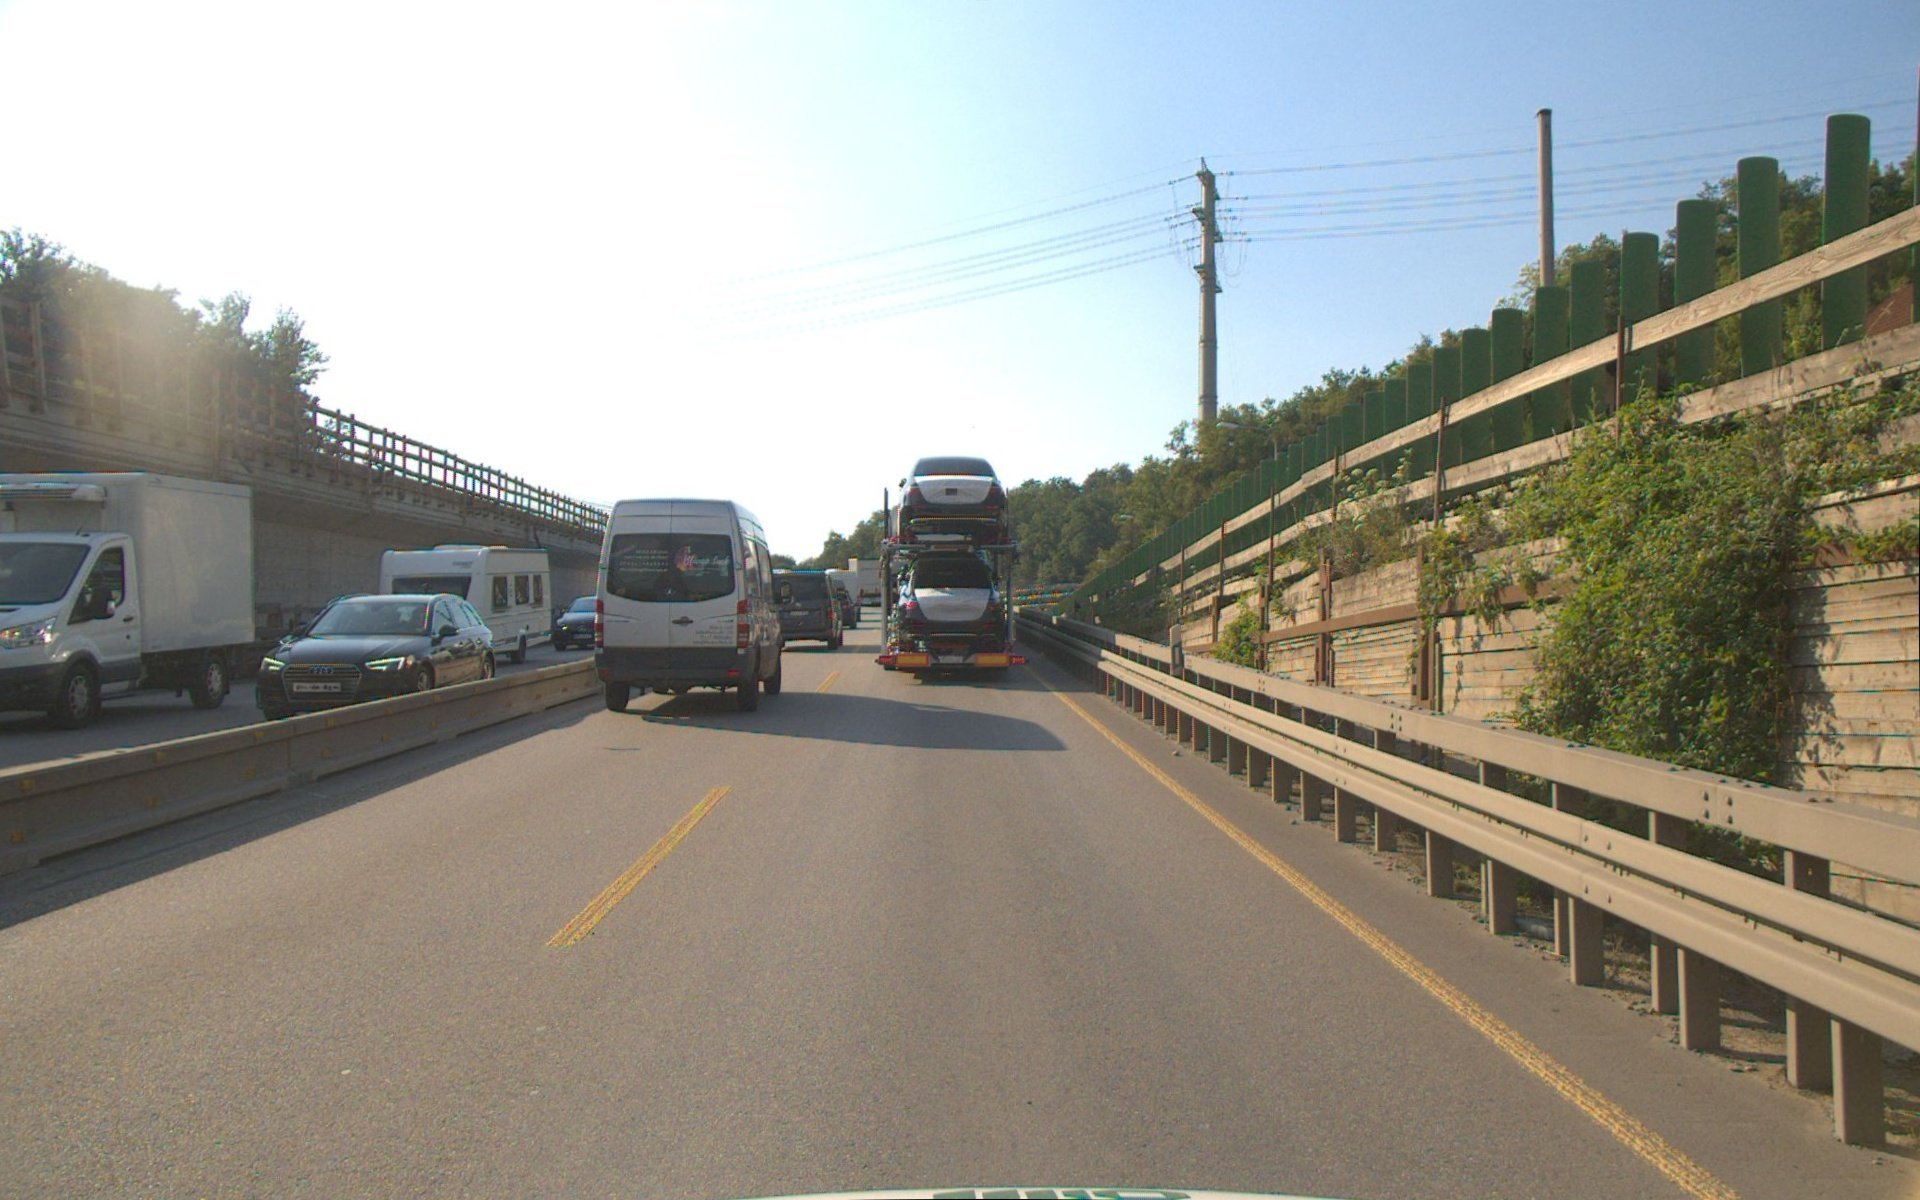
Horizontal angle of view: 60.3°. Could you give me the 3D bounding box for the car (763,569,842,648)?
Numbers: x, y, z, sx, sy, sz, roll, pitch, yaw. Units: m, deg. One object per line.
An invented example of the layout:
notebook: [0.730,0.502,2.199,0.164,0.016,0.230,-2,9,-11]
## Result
car: [-4.090,0.260,43.421,1.772,1.937,3.998,2,-1,-2]

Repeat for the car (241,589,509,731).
car: [-6.902,0.634,20.034,1.728,1.475,4.457,2,0,-2]

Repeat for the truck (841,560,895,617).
truck: [-8.129,-0.960,145.149,3.988,4.761,10.575,1,0,-7]

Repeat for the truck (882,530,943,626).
truck: [-2.502,-1.053,84.990,2.850,4.687,7.280,1,0,-4]

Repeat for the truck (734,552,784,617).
truck: [-13.709,-1.013,113.357,2.924,4.226,7.386,1,0,-4]

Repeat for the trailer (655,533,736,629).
trailer: [-12.528,-0.908,79.048,2.554,4.184,9.623,-2,1,-2]

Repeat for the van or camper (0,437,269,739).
van or camper: [-10.587,-0.073,19.708,2.273,3.042,6.220,0,-1,-2]

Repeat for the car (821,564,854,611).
car: [-14.083,-1.370,189.376,3.379,5.123,9.639,1,0,-6]

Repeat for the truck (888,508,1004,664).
truck: [-0.351,-0.274,42.480,2.628,3.597,7.192,1,-1,0]

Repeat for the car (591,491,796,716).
car: [-3.490,0.039,22.709,1.953,2.694,5.529,0,0,-1]

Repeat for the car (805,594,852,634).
car: [-5.338,0.540,67.635,1.690,1.549,3.971,2,0,-2]

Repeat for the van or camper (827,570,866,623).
van or camper: [-5.998,-0.127,87.151,1.929,2.637,5.037,2,-1,-4]

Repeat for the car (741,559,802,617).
car: [-8.718,-0.522,76.908,2.421,2.578,3.999,1,-1,-1]

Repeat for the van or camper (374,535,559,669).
van or camper: [-10.882,0.039,37.097,2.265,2.709,6.453,-1,0,-1]

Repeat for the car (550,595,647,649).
car: [-10.661,0.618,49.142,1.932,1.446,4.898,-2,0,-2]

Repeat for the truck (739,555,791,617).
truck: [-14.293,-0.957,122.241,2.924,4.226,15.841,1,0,-4]

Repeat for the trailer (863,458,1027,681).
trailer: [-0.291,-0.398,34.917,2.628,3.597,15.285,1,-1,0]

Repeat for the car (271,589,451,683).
car: [-10.769,0.604,30.092,1.607,1.557,4.782,-1,0,-1]
